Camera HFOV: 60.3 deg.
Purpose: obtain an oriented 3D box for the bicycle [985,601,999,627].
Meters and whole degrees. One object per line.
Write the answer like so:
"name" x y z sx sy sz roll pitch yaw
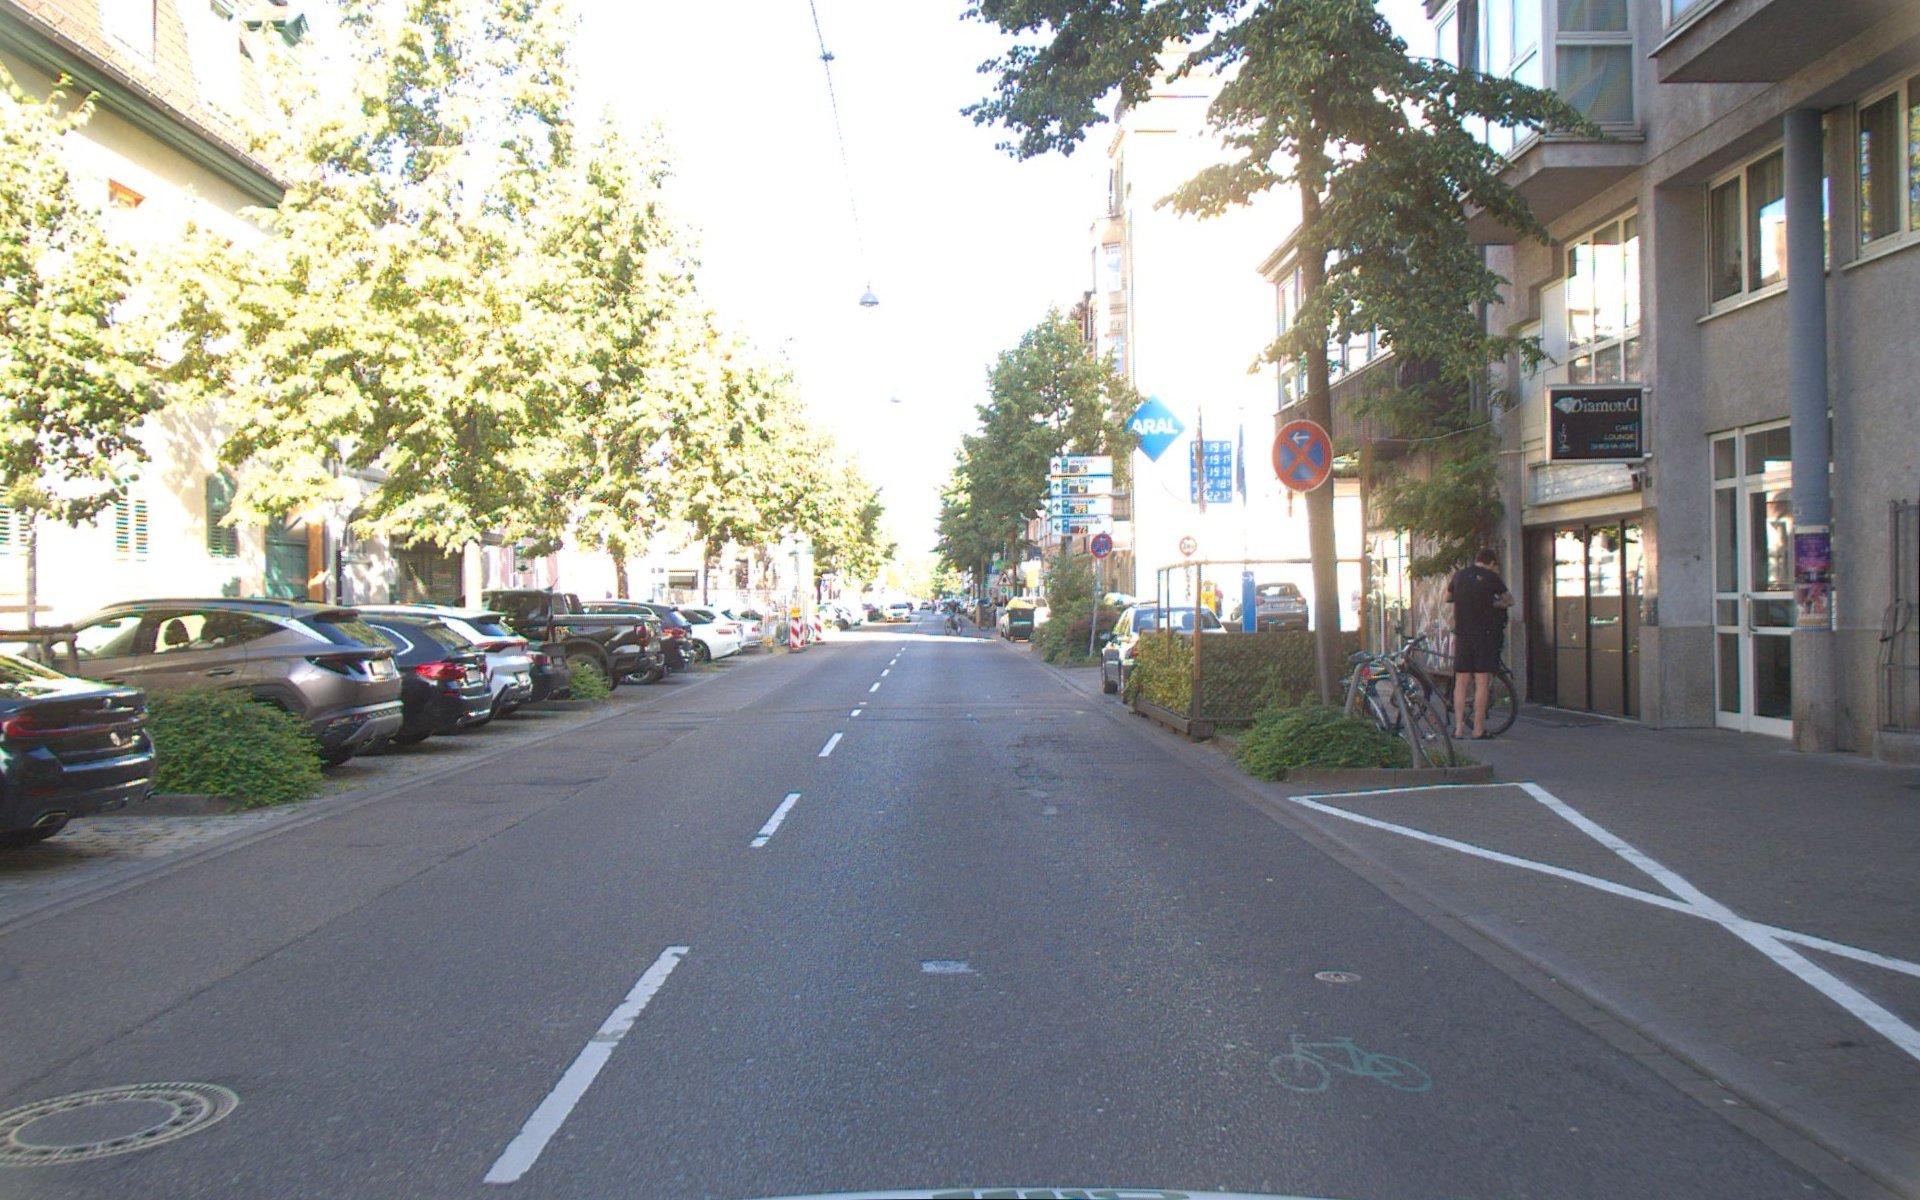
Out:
"bicycle" 1.889 0.804 97.787 0.549 1.465 1.628 -7 0 -1

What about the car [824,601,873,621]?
"car" -9.083 0.909 135.127 3.907 1.526 1.999 -1 0 -2

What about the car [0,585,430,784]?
"car" -7.576 0.758 15.544 4.584 1.742 1.808 0 0 0

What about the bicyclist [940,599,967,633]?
"bicyclist" -0.332 0.772 79.499 1.029 1.587 0.759 -1 0 -36

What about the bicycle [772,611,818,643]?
"bicycle" -6.741 1.096 67.552 1.820 1.274 0.599 0 0 -9

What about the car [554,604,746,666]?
"car" -7.796 0.868 41.935 4.588 1.491 1.806 0 0 -4

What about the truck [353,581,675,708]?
"truck" -7.614 0.735 28.610 4.982 1.972 1.999 -2 0 -2

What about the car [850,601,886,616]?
"car" -9.993 0.892 180.071 3.907 1.526 1.999 -1 0 -2

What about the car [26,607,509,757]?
"car" -7.552 0.867 18.351 4.584 1.546 1.808 0 0 0

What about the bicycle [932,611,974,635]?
"bicycle" -0.345 1.108 79.500 1.934 1.077 0.759 -1 0 -36

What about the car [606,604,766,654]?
"car" -8.216 0.862 49.895 4.588 1.437 1.806 0 0 -4

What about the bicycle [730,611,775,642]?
"bicycle" -8.447 1.073 67.342 1.749 1.274 0.601 0 0 10

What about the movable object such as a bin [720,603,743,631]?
"movable object such as a bin" -12.603 0.926 91.161 1.117 1.511 1.235 -1 0 -3

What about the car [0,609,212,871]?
"car" -7.291 0.817 10.215 4.551 1.485 1.683 0 0 -1

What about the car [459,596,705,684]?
"car" -7.681 0.802 33.885 4.584 1.723 1.808 0 0 0

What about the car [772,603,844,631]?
"car" -8.600 0.953 93.668 3.907 1.414 1.999 -1 0 -2

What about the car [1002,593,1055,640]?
"car" 2.681 0.627 65.956 1.785 1.708 4.600 -3 0 -1

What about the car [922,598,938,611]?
"car" -3.654 0.530 198.068 1.786 1.415 4.299 -4 0 -2

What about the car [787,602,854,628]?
"car" -8.364 0.892 99.460 3.907 1.414 1.999 -1 0 -2

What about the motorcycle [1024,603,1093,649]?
"motorcycle" 3.040 0.800 51.309 1.943 1.353 0.908 -1 0 -13

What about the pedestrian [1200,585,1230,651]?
"pedestrian" 7.398 0.528 48.020 0.692 1.882 0.688 -2 0 0

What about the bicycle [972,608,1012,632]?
"bicycle" 1.691 1.066 88.052 1.998 1.241 0.717 -1 0 -19

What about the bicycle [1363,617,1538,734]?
"bicycle" 5.163 0.774 17.480 0.676 1.169 1.658 -1 0 -42

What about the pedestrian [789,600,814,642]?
"pedestrian" -6.542 0.852 68.233 0.785 1.737 0.758 0 0 -34

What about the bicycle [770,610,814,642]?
"bicycle" -6.964 1.075 68.561 1.820 1.274 0.599 0 0 -9

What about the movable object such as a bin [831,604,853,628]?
"movable object such as a bin" -7.550 1.000 106.152 1.307 1.504 1.480 -1 0 -1

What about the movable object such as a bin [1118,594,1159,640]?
"movable object such as a bin" 6.232 0.592 57.771 1.245 1.557 1.176 -2 0 -3

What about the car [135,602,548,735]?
"car" -7.803 0.843 21.151 4.584 1.599 1.808 0 0 0

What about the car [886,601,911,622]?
"car" -4.706 0.836 126.418 1.766 1.460 4.408 -3 0 -2

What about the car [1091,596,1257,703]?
"car" 3.229 0.704 25.849 1.862 1.436 4.645 -3 0 -1

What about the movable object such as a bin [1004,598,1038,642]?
"movable object such as a bin" 2.281 0.742 61.630 1.118 1.589 1.460 -2 0 7

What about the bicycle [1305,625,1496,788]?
"bicycle" 3.581 0.826 13.658 0.597 1.139 2.051 -8 1 -10

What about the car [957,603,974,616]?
"car" 0.606 1.182 198.801 1.953 1.534 3.999 0 -1 -1

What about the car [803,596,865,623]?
"car" -8.523 0.667 112.370 3.903 1.724 2.001 -1 0 4

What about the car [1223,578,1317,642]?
"car" 8.737 0.266 46.957 1.862 1.677 4.293 -2 0 0

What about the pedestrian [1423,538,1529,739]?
"pedestrian" 5.220 0.386 16.731 0.906 1.969 0.761 -1 0 24

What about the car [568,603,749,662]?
"car" -8.046 0.857 44.492 4.588 1.491 1.806 0 0 -4

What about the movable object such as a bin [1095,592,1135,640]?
"movable object such as a bin" 5.519 0.559 59.125 1.181 1.656 1.497 -2 0 -3

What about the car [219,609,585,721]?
"car" -7.859 0.898 23.591 4.584 1.488 1.808 0 0 0

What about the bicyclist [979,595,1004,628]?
"bicyclist" 1.680 0.600 88.058 1.136 1.722 0.717 -1 0 -19

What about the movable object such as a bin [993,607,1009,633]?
"movable object such as a bin" 1.969 0.949 79.570 0.691 1.244 0.680 -1 0 -3

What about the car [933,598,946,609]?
"car" -2.728 0.478 220.730 1.756 1.436 3.999 -1 0 -1
